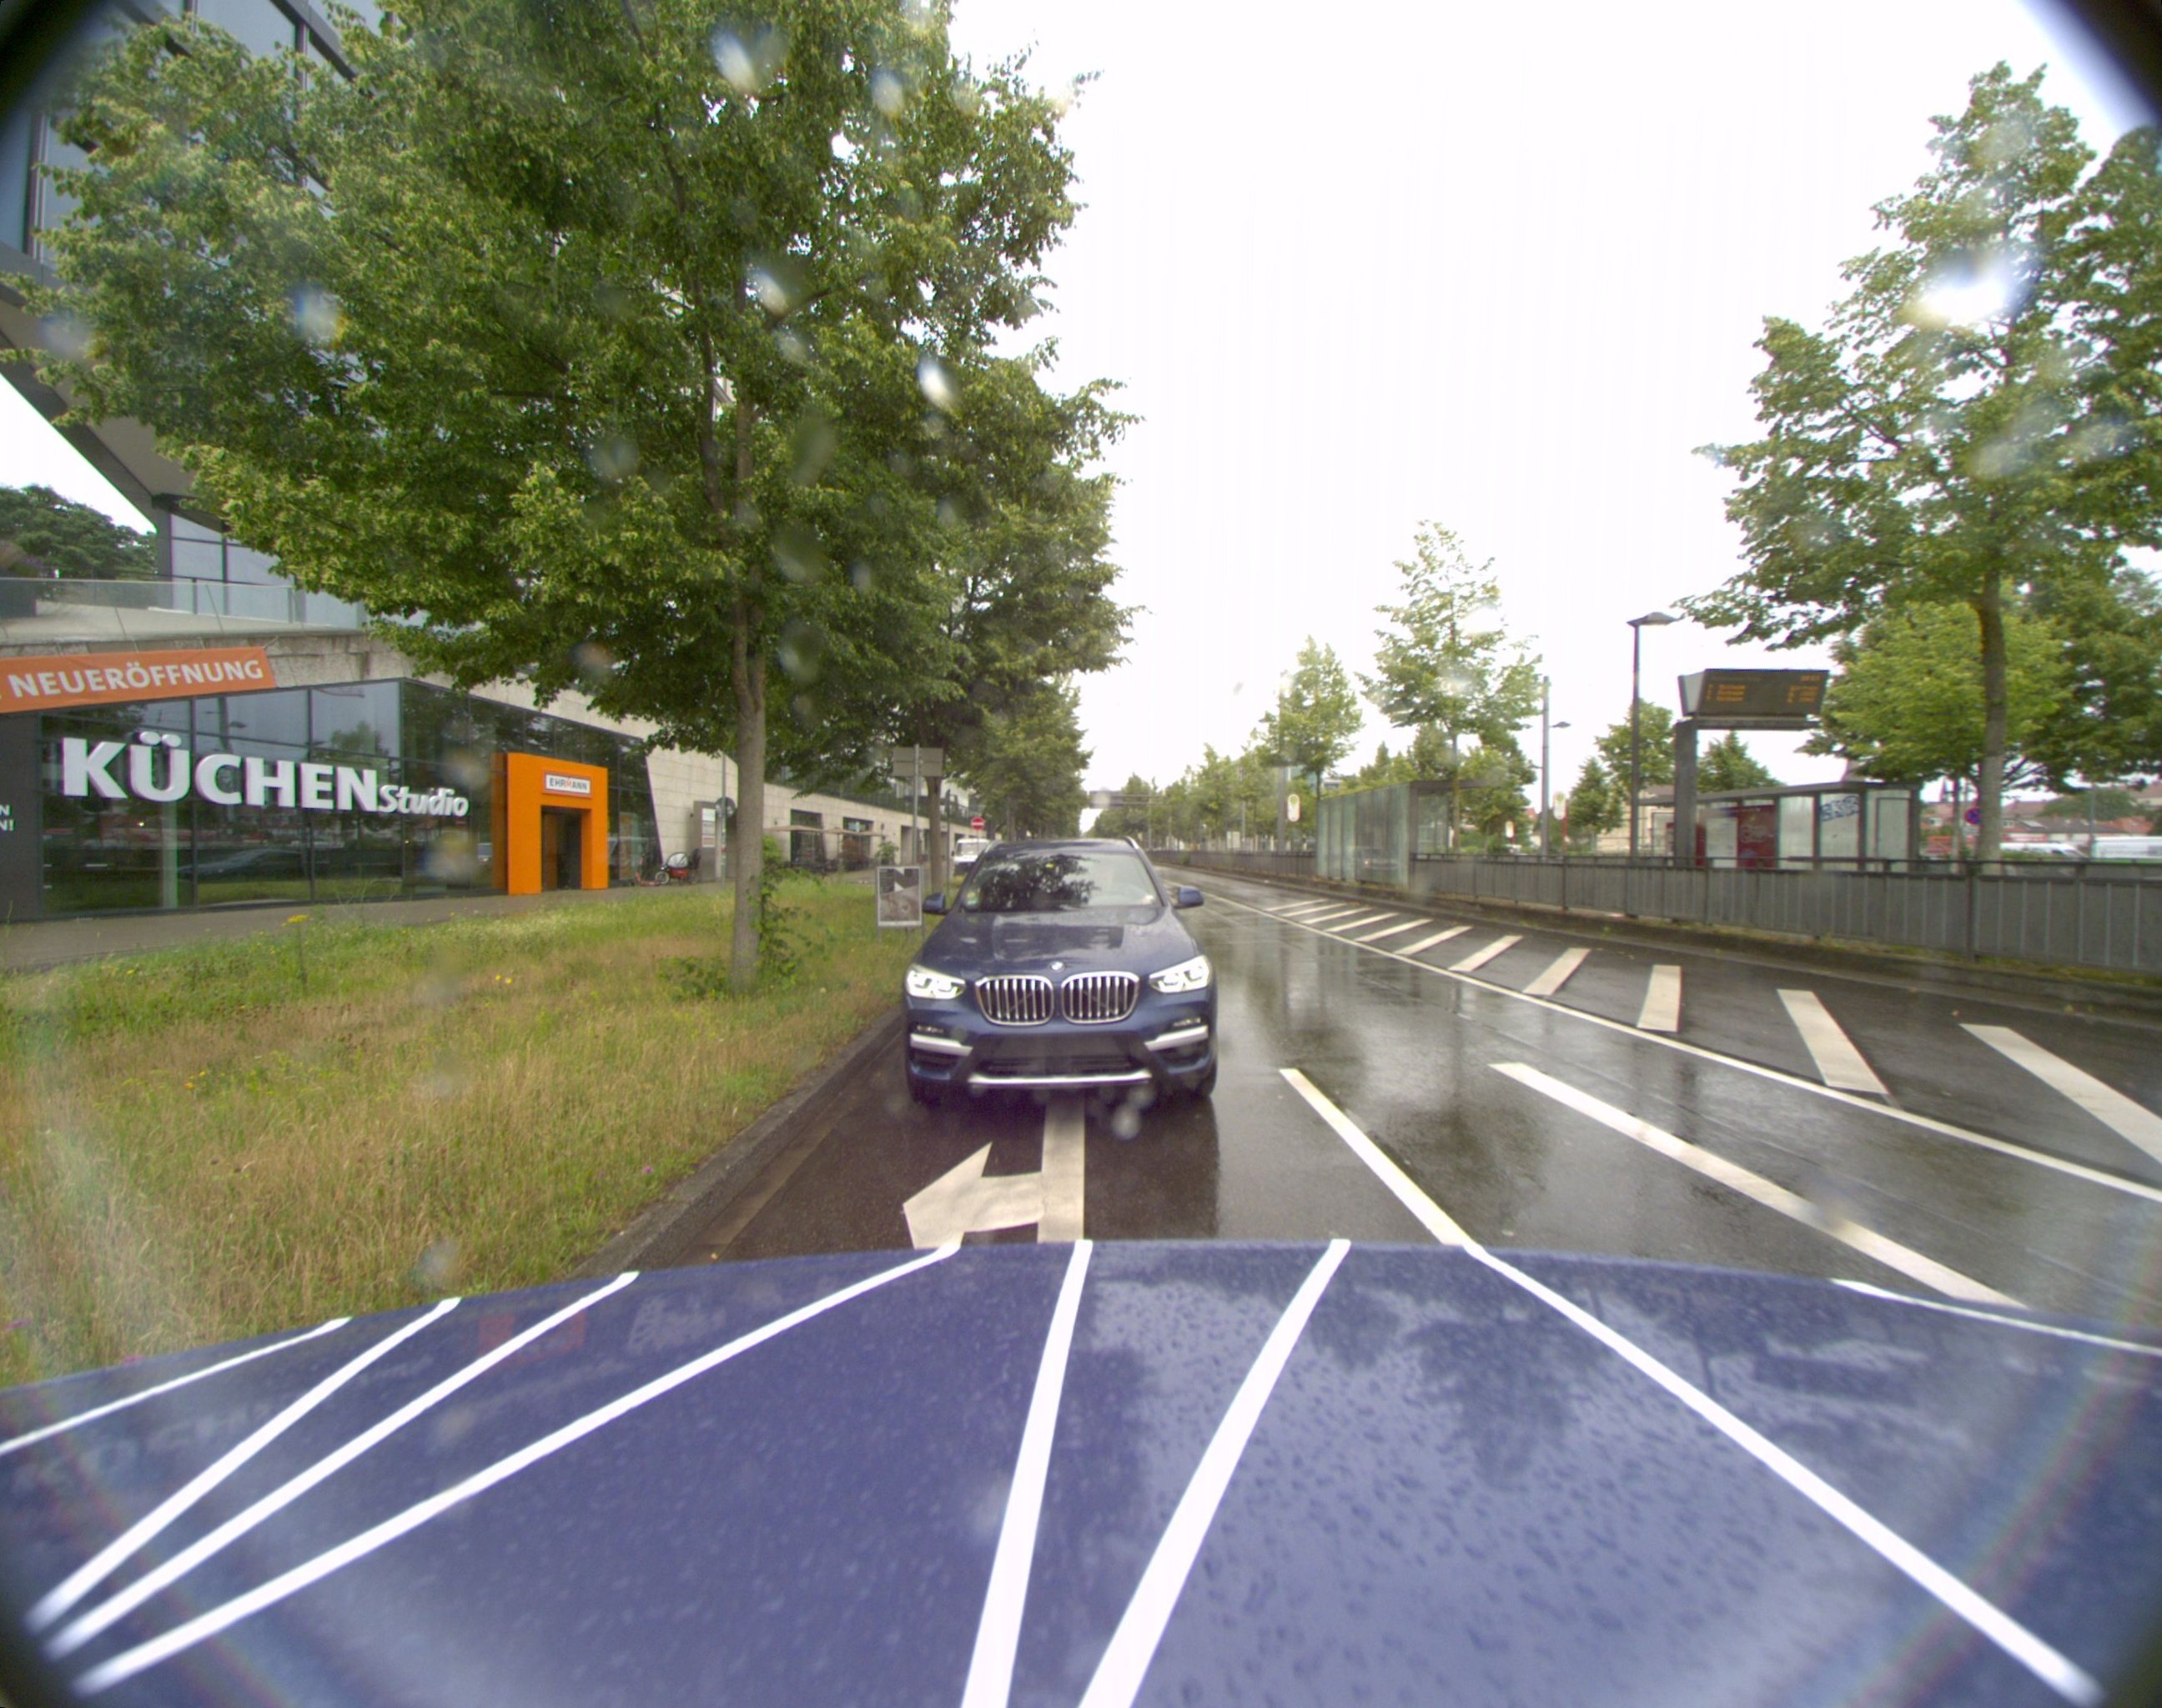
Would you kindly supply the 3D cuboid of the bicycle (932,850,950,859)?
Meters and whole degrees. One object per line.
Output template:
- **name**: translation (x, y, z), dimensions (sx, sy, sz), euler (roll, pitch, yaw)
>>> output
- **bicycle**: translation (-15.991, 0.082, 86.664), dimensions (2.029, 0.940, 0.395), euler (1, 1, -4)

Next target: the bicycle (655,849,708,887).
- **bicycle**: translation (-15.457, 0.535, 29.494), dimensions (0.734, 1.394, 2.425), euler (1, 0, 1)

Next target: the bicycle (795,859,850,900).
- **bicycle**: translation (-8.607, 0.852, 25.283), dimensions (1.843, 1.338, 0.533), euler (-1, 0, 26)

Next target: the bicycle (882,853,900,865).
- **bicycle**: translation (-15.352, 0.381, 61.306), dimensions (0.396, 0.940, 2.024), euler (-4, 2, -45)

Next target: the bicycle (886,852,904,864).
- **bicycle**: translation (-15.174, 0.360, 61.995), dimensions (0.396, 0.940, 2.024), euler (-4, 2, -45)

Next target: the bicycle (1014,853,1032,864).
- **bicycle**: translation (-5.642, 0.454, 73.655), dimensions (1.649, 0.940, 0.395), euler (-2, 2, -4)

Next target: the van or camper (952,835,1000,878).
- **van or camper**: translation (-5.918, 0.086, 43.406), dimensions (2.030, 2.279, 5.458), euler (-1, 1, 0)

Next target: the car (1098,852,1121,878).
- **car**: translation (2.701, 0.995, 72.553), dimensions (1.998, 2.232, 3.999), euler (-2, 1, 1)

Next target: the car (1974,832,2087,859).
- **car**: translation (84.247, -0.765, 67.577), dimensions (2.000, 2.293, 6.138), euler (-3, 1, -9)

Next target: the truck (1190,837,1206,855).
- **truck**: translation (26.348, -1.921, 171.486), dimensions (2.693, 3.756, 9.182), euler (-2, 1, 3)

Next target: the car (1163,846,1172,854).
- **car**: translation (22.973, -1.089, 202.082), dimensions (1.761, 2.002, 3.999), euler (0, 1, -1)

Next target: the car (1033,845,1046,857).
- **car**: translation (-6.033, -0.475, 111.449), dimensions (1.659, 1.711, 3.999), euler (-2, 1, 0)

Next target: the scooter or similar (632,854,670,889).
- **scooter or similar**: translation (-15.649, 0.621, 27.666), dimensions (0.342, 1.221, 1.242), euler (-2, 2, 19)

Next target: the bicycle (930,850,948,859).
- **bicycle**: translation (-15.949, 0.091, 85.414), dimensions (2.029, 0.940, 0.395), euler (1, 1, -4)

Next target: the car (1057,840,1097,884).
- **car**: translation (-0.181, 0.390, 42.529), dimensions (1.998, 2.232, 3.999), euler (-2, 1, 1)

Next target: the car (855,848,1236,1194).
- **car**: translation (-0.142, 0.816, 5.750), dimensions (1.816, 1.603, 3.999), euler (-2, 1, 1)

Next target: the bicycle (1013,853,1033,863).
- **bicycle**: translation (-5.741, 0.407, 75.449), dimensions (1.882, 0.940, 0.395), euler (-2, 2, -4)

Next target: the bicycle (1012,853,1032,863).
- **bicycle**: translation (-5.920, 0.395, 76.411), dimensions (2.040, 0.940, 0.395), euler (-2, 2, -4)

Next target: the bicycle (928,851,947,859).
- **bicycle**: translation (-15.874, 0.118, 84.244), dimensions (2.029, 0.940, 0.395), euler (1, 1, -4)

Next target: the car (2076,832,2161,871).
- **car**: translation (70.124, -0.187, 49.302), dimensions (1.999, 2.448, 6.744), euler (-2, 1, -4)

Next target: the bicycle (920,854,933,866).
- **bicycle**: translation (-13.038, 0.517, 64.130), dimensions (0.402, 0.940, 1.859), euler (-1, 1, 8)

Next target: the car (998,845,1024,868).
- **car**: translation (-5.679, 0.145, 62.227), dimensions (1.746, 1.749, 4.847), euler (-1, 1, 0)

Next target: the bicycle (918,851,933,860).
- **bicycle**: translation (-16.295, 0.180, 79.679), dimensions (1.657, 0.940, 0.347), euler (1, 2, 19)

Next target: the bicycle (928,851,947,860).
- **bicycle**: translation (-15.805, 0.126, 83.546), dimensions (2.029, 0.940, 0.395), euler (1, 1, -4)
